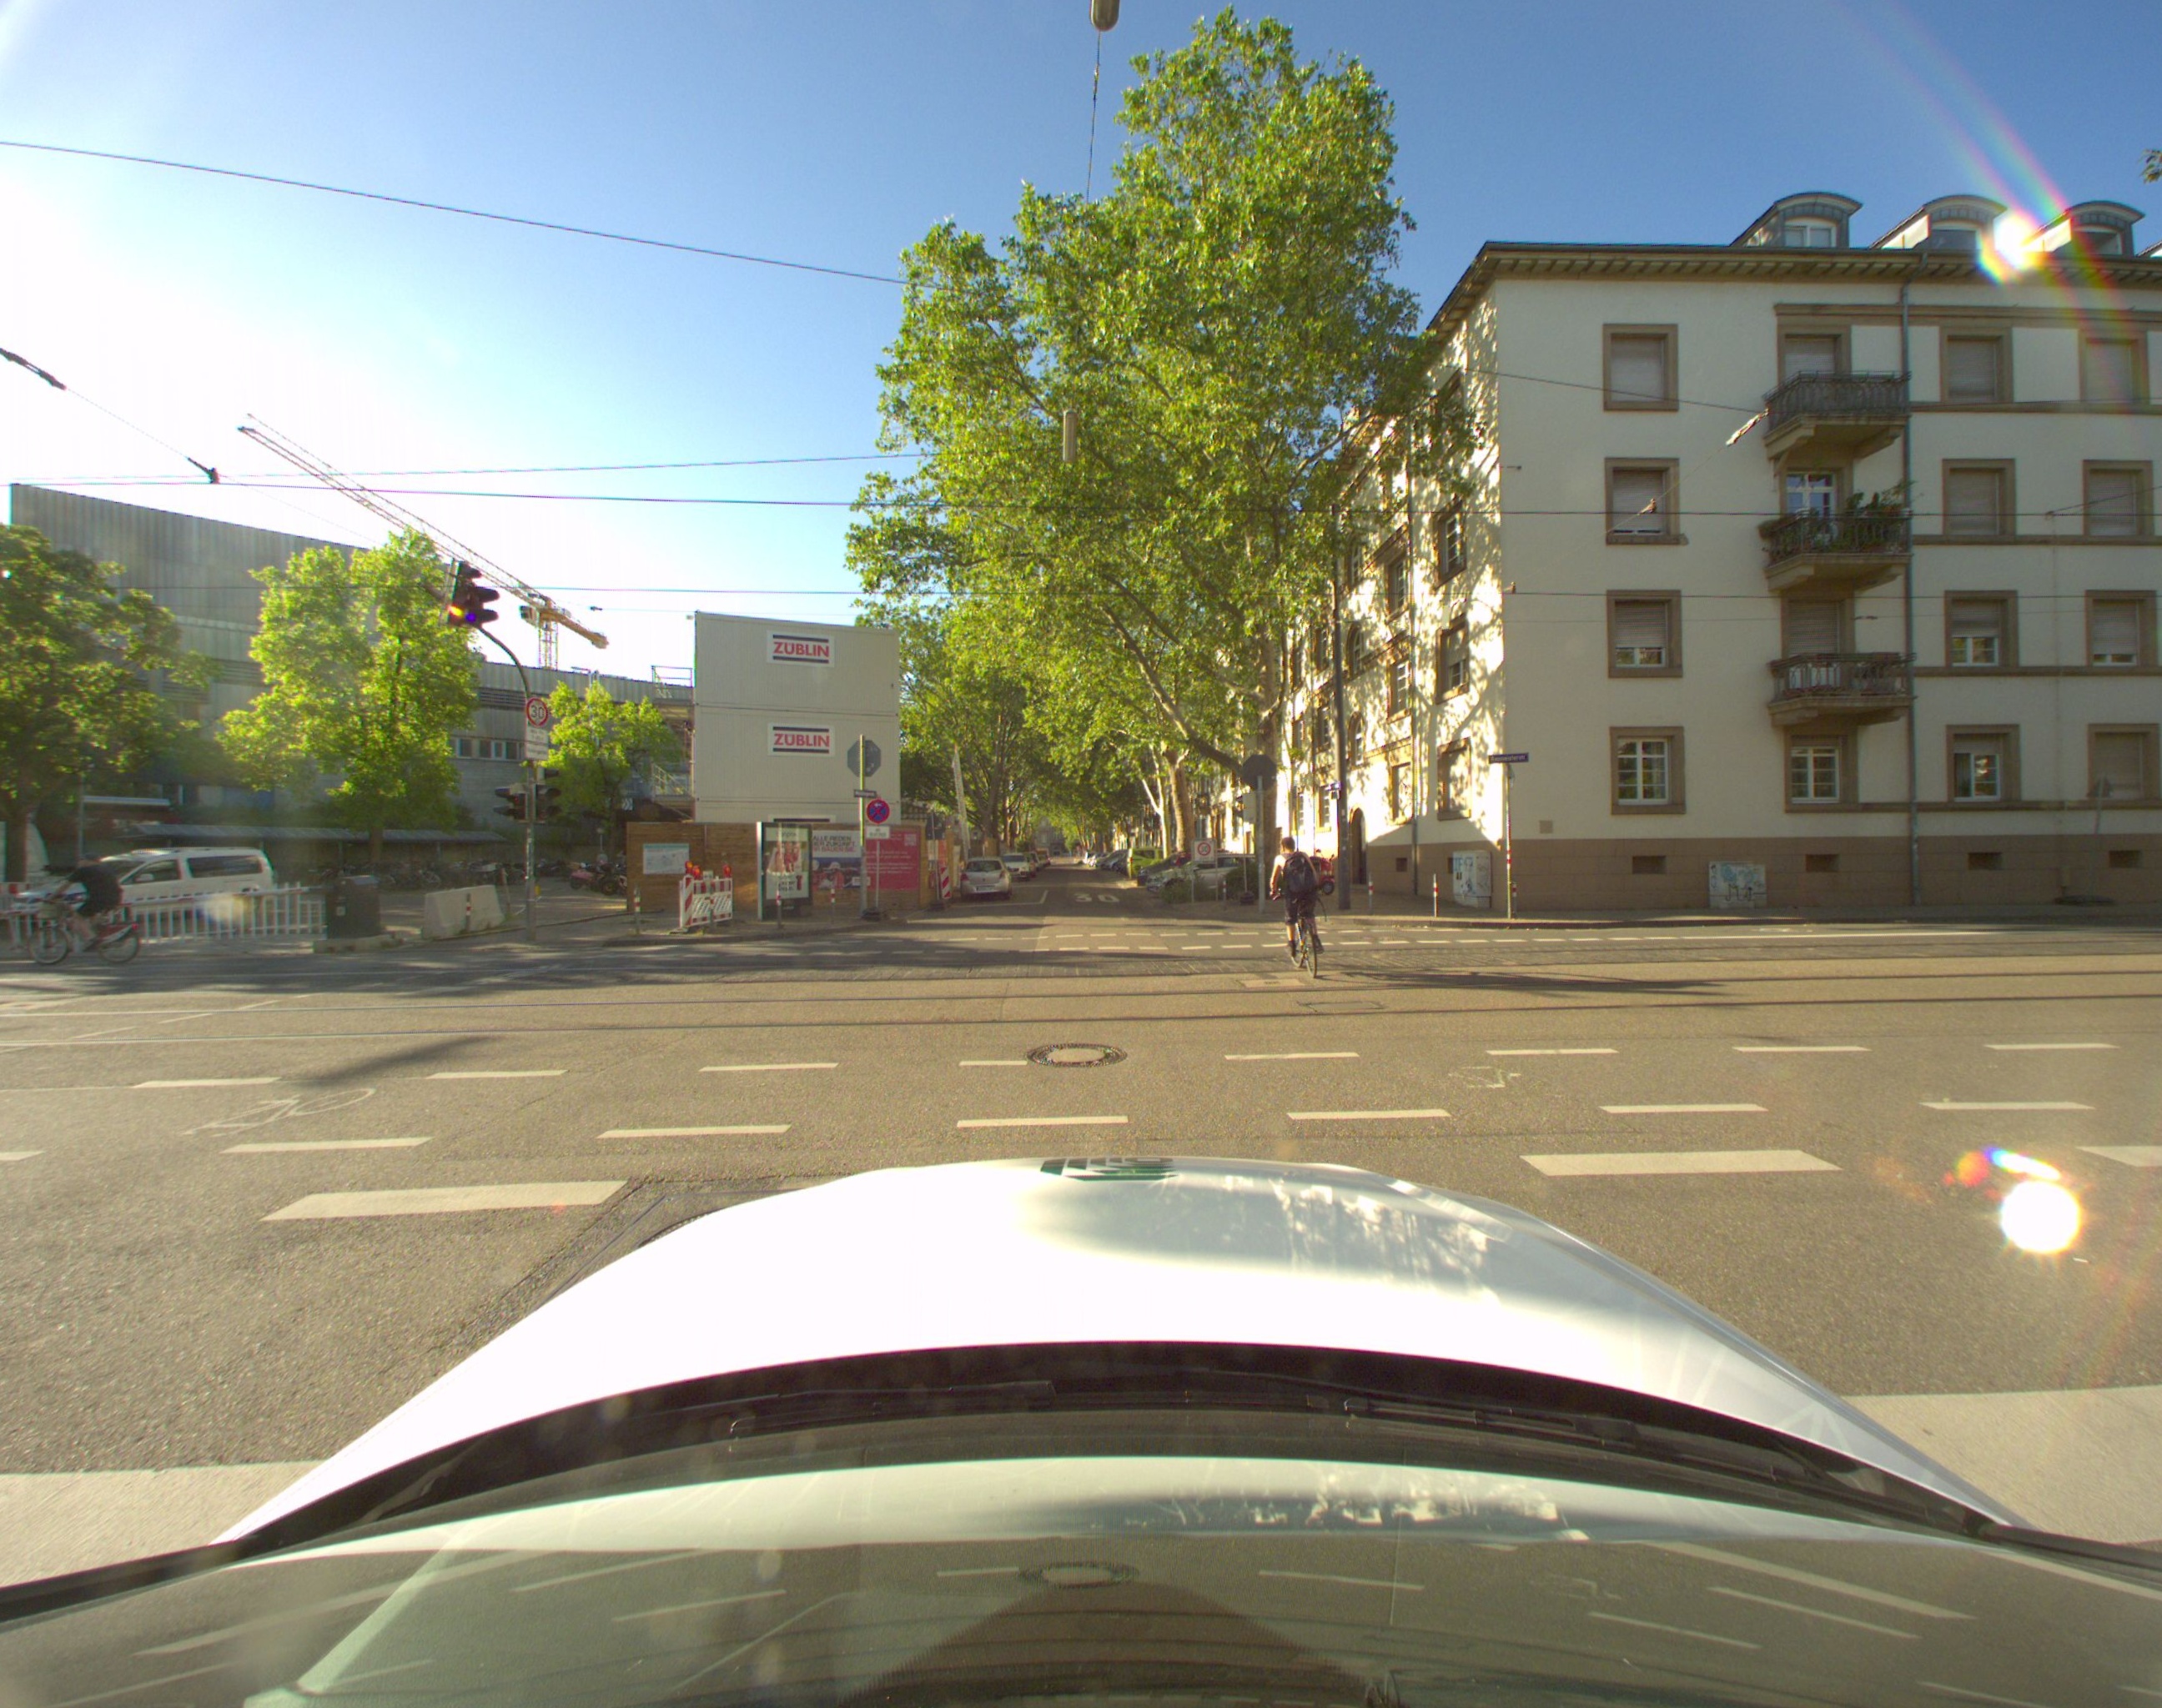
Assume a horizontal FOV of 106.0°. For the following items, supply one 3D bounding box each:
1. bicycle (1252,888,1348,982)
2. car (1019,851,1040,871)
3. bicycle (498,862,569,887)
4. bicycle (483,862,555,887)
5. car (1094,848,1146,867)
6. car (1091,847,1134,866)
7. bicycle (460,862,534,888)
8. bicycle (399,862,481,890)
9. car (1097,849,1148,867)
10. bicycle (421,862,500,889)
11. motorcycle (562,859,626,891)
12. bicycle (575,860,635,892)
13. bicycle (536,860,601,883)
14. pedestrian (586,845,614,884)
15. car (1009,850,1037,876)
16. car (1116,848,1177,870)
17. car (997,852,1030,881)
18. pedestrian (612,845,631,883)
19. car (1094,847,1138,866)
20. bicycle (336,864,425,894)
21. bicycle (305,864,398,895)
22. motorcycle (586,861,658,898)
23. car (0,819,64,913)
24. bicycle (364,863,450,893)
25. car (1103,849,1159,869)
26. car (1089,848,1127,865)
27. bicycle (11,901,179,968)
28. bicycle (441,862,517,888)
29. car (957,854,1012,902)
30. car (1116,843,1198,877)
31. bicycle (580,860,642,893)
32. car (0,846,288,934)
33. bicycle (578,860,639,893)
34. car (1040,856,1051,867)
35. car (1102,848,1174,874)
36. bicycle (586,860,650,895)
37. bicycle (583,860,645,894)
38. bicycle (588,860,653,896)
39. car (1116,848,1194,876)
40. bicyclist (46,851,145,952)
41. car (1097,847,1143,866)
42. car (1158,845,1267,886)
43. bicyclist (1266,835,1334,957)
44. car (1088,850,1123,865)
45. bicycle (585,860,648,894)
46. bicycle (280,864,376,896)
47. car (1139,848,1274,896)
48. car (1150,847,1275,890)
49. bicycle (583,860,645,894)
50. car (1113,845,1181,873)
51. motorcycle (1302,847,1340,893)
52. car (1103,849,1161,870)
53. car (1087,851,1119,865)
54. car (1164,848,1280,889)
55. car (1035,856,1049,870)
[{"bbox_3d":[2.783,0.996,10.536,0.688,1.016,1.906,1,0,-1],"label":"bicycle"},{"bbox_3d":[-4.231,0.540,67.791,1.661,1.562,4.611,-1,0,-3],"label":"car"},{"bbox_3d":[-27.156,1.004,40.407,3.062,1.147,0.823,-1,0,7],"label":"bicycle"},{"bbox_3d":[-27.222,0.994,39.472,3.062,1.147,0.823,-1,0,7],"label":"bicycle"},{"bbox_3d":[3.465,0.327,72.485,4.451,1.571,1.726,-1,0,-3],"label":"car"},{"bbox_3d":[3.374,0.259,87.760,4.451,1.898,1.726,-1,0,-3],"label":"car"},{"bbox_3d":[-27.447,0.981,38.285,3.062,1.147,0.823,-1,0,7],"label":"bicycle"},{"bbox_3d":[-27.849,0.949,35.396,3.062,1.147,0.823,-1,0,7],"label":"bicycle"},{"bbox_3d":[3.790,0.343,74.817,4.451,1.571,1.726,-1,0,-3],"label":"car"},{"bbox_3d":[-27.733,0.961,36.428,3.062,1.147,0.823,-1,0,7],"label":"bicycle"},{"bbox_3d":[-20.518,0.877,34.350,2.223,1.257,0.537,-1,1,-39],"label":"motorcycle"},{"bbox_3d":[-19.622,0.891,33.593,2.060,1.257,0.537,-1,1,-39],"label":"bicycle"},{"bbox_3d":[-27.649,0.939,43.947,3.062,1.147,0.823,-1,0,7],"label":"bicycle"},{"bbox_3d":[-25.574,0.543,43.318,0.796,2.013,0.941,-1,0,9],"label":"pedestrian"},{"bbox_3d":[-3.610,0.543,51.088,1.661,1.562,4.514,-1,0,-3],"label":"car"},{"bbox_3d":[4.998,0.376,62.095,4.451,1.571,1.726,-1,0,-3],"label":"car"},{"bbox_3d":[-3.712,0.660,45.373,1.661,1.562,3.995,-1,0,-3],"label":"car"},{"bbox_3d":[-24.564,0.540,43.555,0.804,2.013,1.022,-1,0,-26],"label":"pedestrian"},{"bbox_3d":[3.637,0.250,84.900,4.451,1.898,1.726,-1,0,-3],"label":"car"},{"bbox_3d":[-28.190,0.986,32.770,3.062,1.147,0.823,-1,0,7],"label":"bicycle"},{"bbox_3d":[-28.315,0.974,31.624,3.062,1.147,0.823,-1,0,7],"label":"bicycle"},{"bbox_3d":[-16.702,0.916,29.690,2.223,1.257,0.537,-1,1,-39],"label":"motorcycle"},{"bbox_3d":[-30.285,0.429,20.780,1.990,2.530,5.375,-1,3,-4],"label":"car"},{"bbox_3d":[-27.993,0.998,33.833,3.062,1.147,0.823,-1,0,7],"label":"bicycle"},{"bbox_3d":[4.128,0.427,67.741,4.451,1.571,1.726,-1,0,-3],"label":"car"},{"bbox_3d":[3.266,0.288,97.703,4.451,1.898,1.726,-1,0,-3],"label":"car"},{"bbox_3d":[-16.683,1.353,13.815,1.911,1.018,0.682,-1,0,-3],"label":"bicycle"},{"bbox_3d":[-27.576,0.970,37.314,3.062,1.147,0.823,-1,0,7],"label":"bicycle"},{"bbox_3d":[-3.397,0.794,29.250,1.640,1.494,3.995,-3,0,-3],"label":"car"},{"bbox_3d":[4.334,0.341,46.713,4.452,1.836,1.726,-1,0,-4],"label":"car"},{"bbox_3d":[-18.849,0.880,32.698,2.060,1.257,0.537,-1,1,-39],"label":"bicycle"},{"bbox_3d":[-24.214,0.807,21.203,1.995,1.892,4.953,0,2,4],"label":"car"},{"bbox_3d":[-19.223,0.884,33.161,2.060,1.257,0.537,-1,1,-39],"label":"bicycle"},{"bbox_3d":[-5.557,1.183,128.473,1.661,1.562,4.214,-1,0,-3],"label":"car"},{"bbox_3d":[3.661,0.434,52.645,4.451,1.571,1.726,-1,0,-3],"label":"car"},{"bbox_3d":[-17.589,0.865,30.972,2.060,1.257,0.466,-1,1,-39],"label":"bicycle"},{"bbox_3d":[-18.480,0.876,32.242,2.060,1.257,0.537,-1,1,-39],"label":"bicycle"},{"bbox_3d":[-17.277,0.889,30.615,2.060,1.257,0.466,-1,1,-39],"label":"bicycle"},{"bbox_3d":[4.380,0.490,48.731,4.451,1.571,1.726,-1,0,-3],"label":"car"},{"bbox_3d":[-16.698,0.785,13.813,0.807,1.658,0.682,-1,0,-3],"label":"bicyclist"},{"bbox_3d":[3.882,0.245,82.141,4.451,1.898,1.726,-1,0,-3],"label":"car"},{"bbox_3d":[5.711,0.500,35.704,4.451,1.671,1.726,-1,0,-3],"label":"car"},{"bbox_3d":[2.793,0.520,10.450,0.674,1.513,0.668,1,0,-2],"label":"bicyclist"},{"bbox_3d":[3.138,0.415,105.128,4.451,1.898,1.726,-1,0,-3],"label":"car"},{"bbox_3d":[-17.884,0.868,31.374,2.060,1.257,0.466,-1,1,-39],"label":"bicycle"},{"bbox_3d":[-28.316,0.963,30.627,3.062,1.147,0.823,-1,0,7],"label":"bicycle"},{"bbox_3d":[4.378,0.622,28.742,4.451,1.571,1.726,-1,0,-3],"label":"car"},{"bbox_3d":[4.989,0.534,31.221,4.451,1.500,1.726,-1,0,-3],"label":"car"},{"bbox_3d":[-18.202,0.871,31.768,2.060,1.257,0.466,-1,1,-39],"label":"bicycle"},{"bbox_3d":[4.518,0.337,55.947,4.452,1.836,1.726,-1,0,-4],"label":"car"},{"bbox_3d":[7.267,0.463,24.693,0.513,1.332,1.761,-1,0,-4],"label":"motorcycle"},{"bbox_3d":[4.056,0.412,65.264,4.451,1.571,1.726,-1,0,-3],"label":"car"},{"bbox_3d":[3.148,0.575,117.304,4.451,1.898,1.726,-1,0,-3],"label":"car"},{"bbox_3d":[5.770,0.565,33.619,4.451,1.571,1.726,-1,0,-3],"label":"car"},{"bbox_3d":[-4.710,1.048,98.677,1.661,1.562,4.214,-1,0,-3],"label":"car"}]
